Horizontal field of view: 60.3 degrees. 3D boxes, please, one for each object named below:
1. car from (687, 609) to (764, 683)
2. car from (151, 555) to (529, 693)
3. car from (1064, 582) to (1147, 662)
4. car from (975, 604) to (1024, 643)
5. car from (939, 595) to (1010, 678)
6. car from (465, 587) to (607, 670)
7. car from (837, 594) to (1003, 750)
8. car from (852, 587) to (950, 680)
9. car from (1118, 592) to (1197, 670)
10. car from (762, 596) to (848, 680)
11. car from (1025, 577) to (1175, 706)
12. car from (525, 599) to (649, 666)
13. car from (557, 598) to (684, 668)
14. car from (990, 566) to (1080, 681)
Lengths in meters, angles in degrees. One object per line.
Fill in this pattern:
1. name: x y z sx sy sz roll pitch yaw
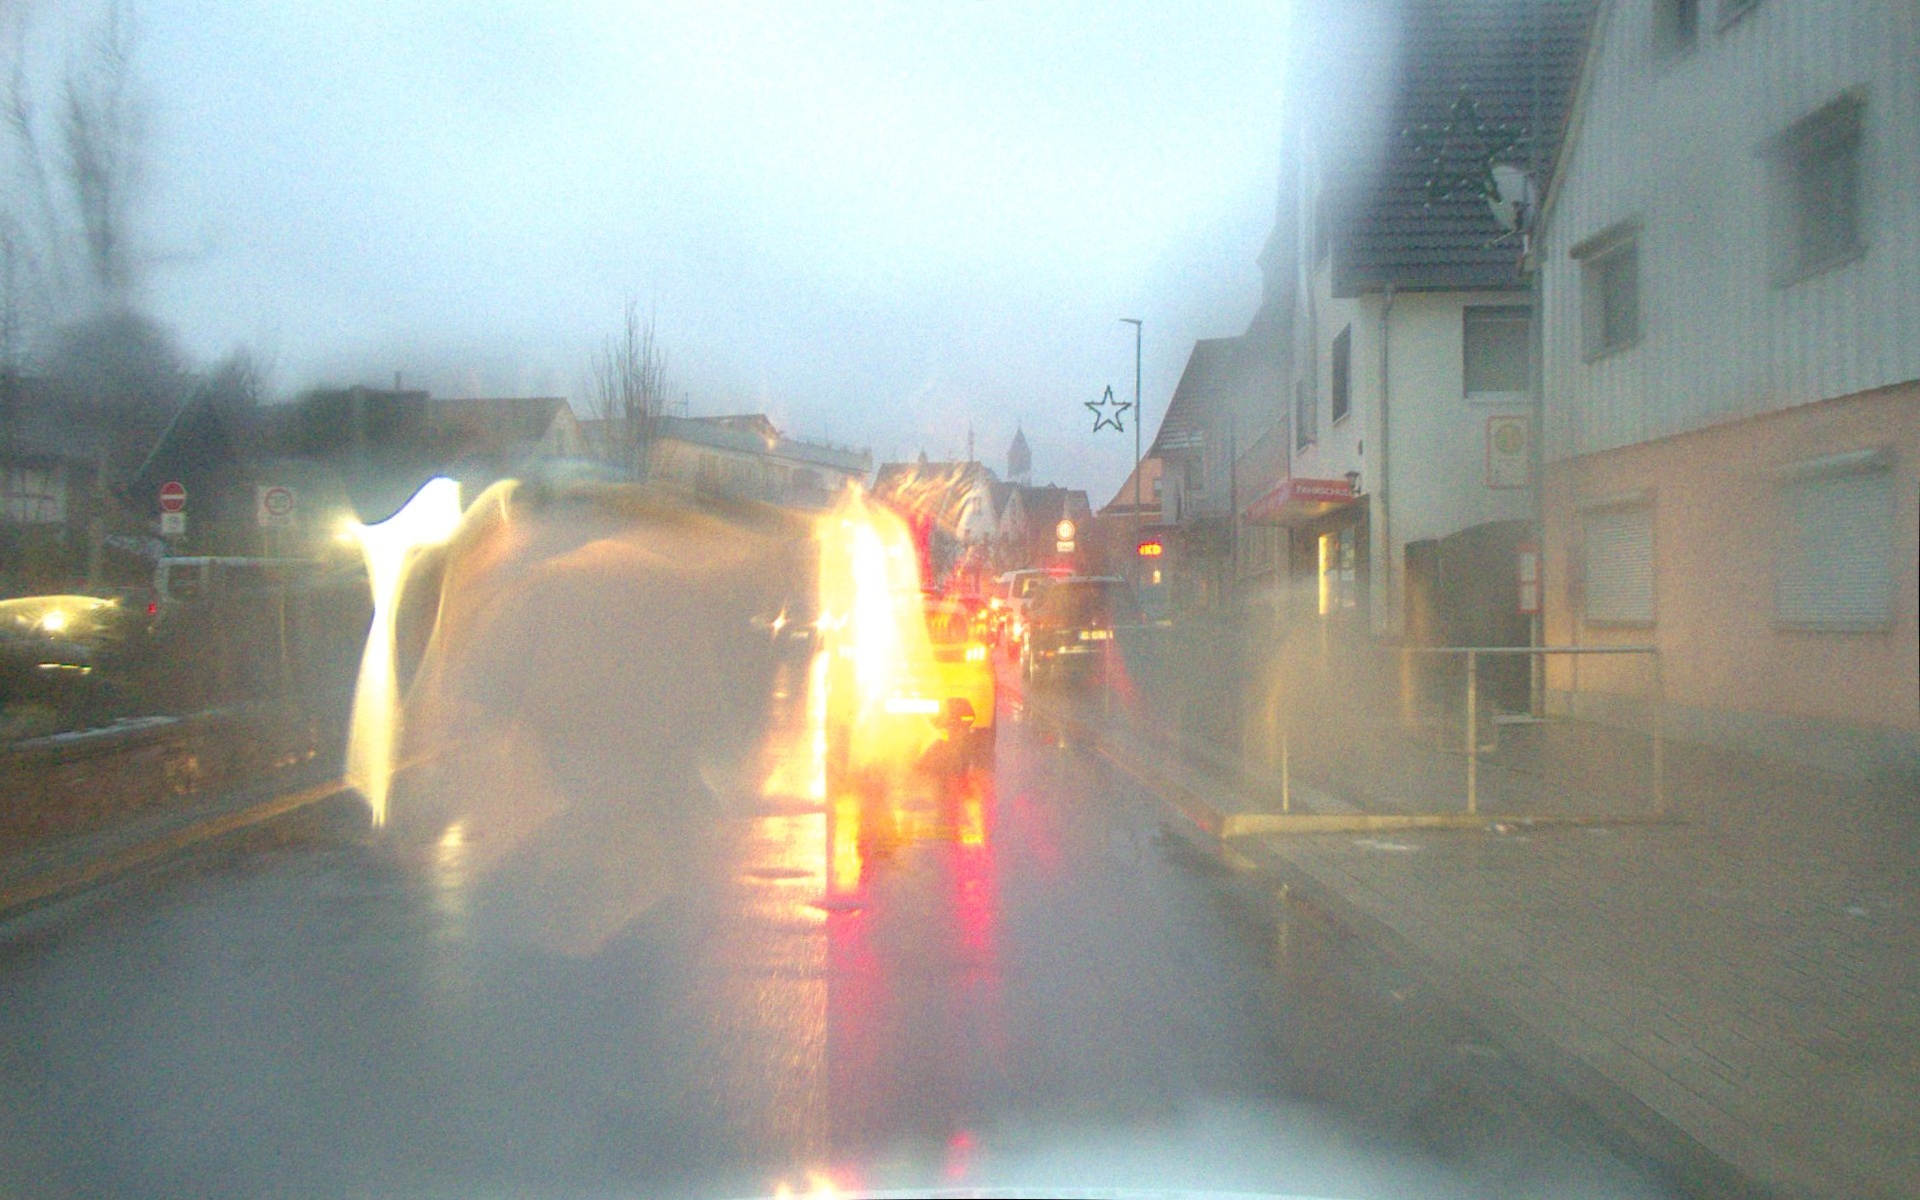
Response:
1. car: -6.929 1.404 49.230 1.881 2.063 3.971 2 -3 -4
2. car: -9.493 0.345 25.416 5.281 1.849 1.713 2 -1 12
3. car: 3.969 0.658 45.871 1.832 2.034 4.442 2 -3 -1
4. car: 1.716 1.026 71.300 1.455 1.553 3.416 1 -3 12
5. car: 0.392 1.119 48.715 1.953 2.291 3.999 2 -3 -1
6. car: -12.620 0.859 49.099 4.308 2.291 1.987 -1 -4 42
7. car: -0.422 0.688 17.133 1.531 1.437 3.016 2 0 -2
8. car: -1.096 0.627 32.288 1.730 1.657 3.585 2 0 0
9. car: 6.125 1.006 51.734 1.953 2.288 3.999 1 -3 0
10. car: -4.200 1.075 45.404 1.953 2.149 3.998 2 -3 -1
11. car: 2.173 0.651 26.700 1.957 1.897 4.081 1 -1 -1
12. car: -11.913 1.031 52.737 4.095 2.011 1.811 -1 -4 42
13. car: -11.432 1.114 55.589 4.308 2.204 1.987 -1 -4 42
14. car: 1.715 0.630 39.114 1.832 2.512 4.442 2 -3 -1
